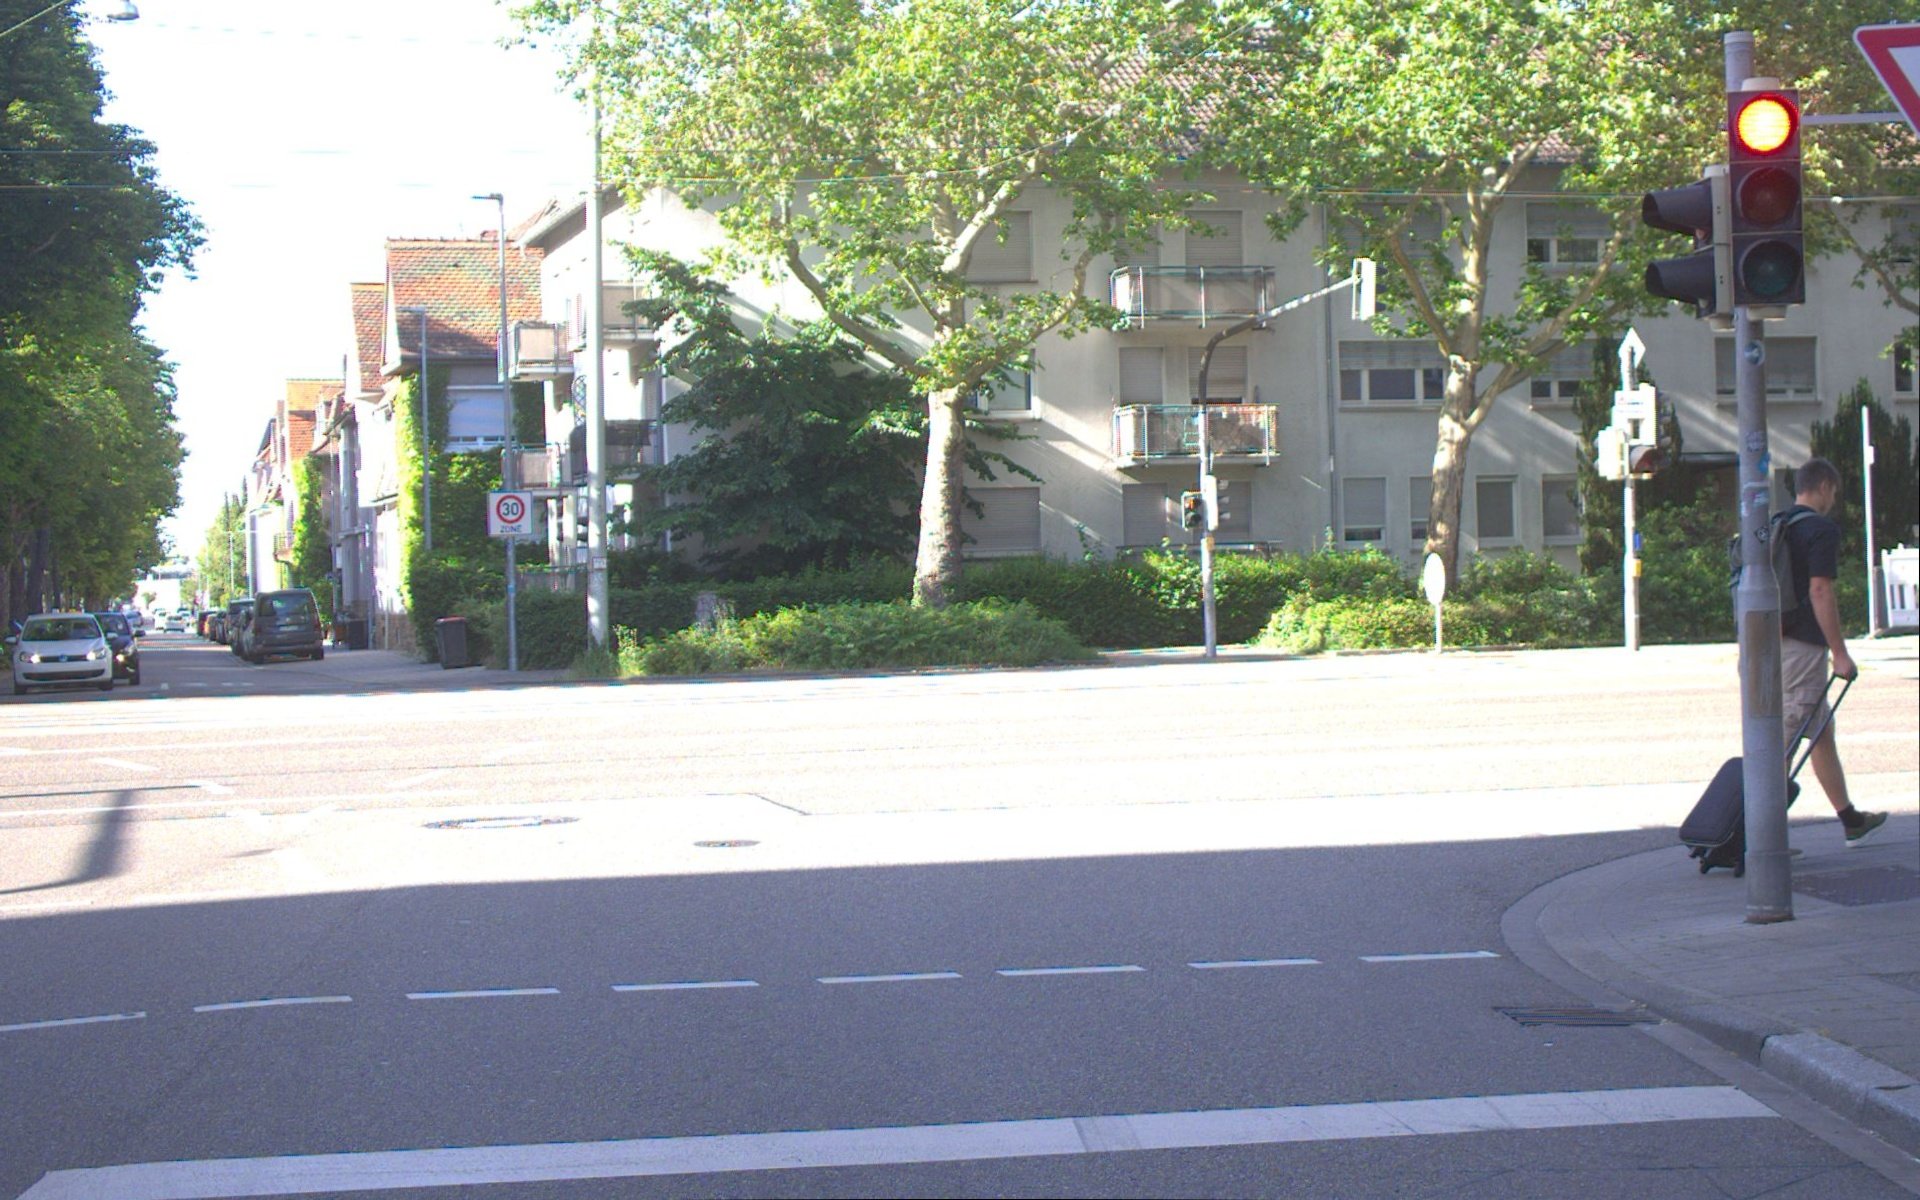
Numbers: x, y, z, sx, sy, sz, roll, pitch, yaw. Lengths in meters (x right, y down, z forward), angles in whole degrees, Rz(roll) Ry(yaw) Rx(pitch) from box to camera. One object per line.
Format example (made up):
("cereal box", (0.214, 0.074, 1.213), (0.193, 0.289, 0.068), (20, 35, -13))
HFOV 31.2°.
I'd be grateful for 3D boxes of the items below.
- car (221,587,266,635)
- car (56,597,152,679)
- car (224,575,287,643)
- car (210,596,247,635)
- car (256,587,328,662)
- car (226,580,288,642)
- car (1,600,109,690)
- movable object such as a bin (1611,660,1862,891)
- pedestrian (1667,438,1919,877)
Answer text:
("car", (-30.534, 0.465, 146.437), (1.772, 1.912, 3.535), (-3, 1, -12))
("car", (-17.260, 0.743, 69.452), (1.698, 1.478, 3.535), (-3, 1, -12))
("car", (-21.455, 0.254, 104.641), (1.772, 1.912, 3.535), (-3, 1, -12))
("car", (-38.470, 0.787, 180.819), (1.772, 1.912, 3.535), (-3, 1, -12))
("car", (-18.391, 0.647, 94.527), (1.772, 1.912, 3.535), (-3, 1, -12))
("car", (-23.586, 0.358, 115.412), (1.993, 2.007, 4.001), (1, 1, -11))
("car", (-16.649, 0.810, 63.356), (1.698, 1.478, 3.535), (-3, 1, -12))
("movable object such as a bin", (3.340, 0.746, 14.810), (0.862, 0.889, 0.509), (-5, 2, -13))
("pedestrian", (3.876, 0.233, 15.331), (1.065, 1.842, 0.749), (-5, 2, -18))
